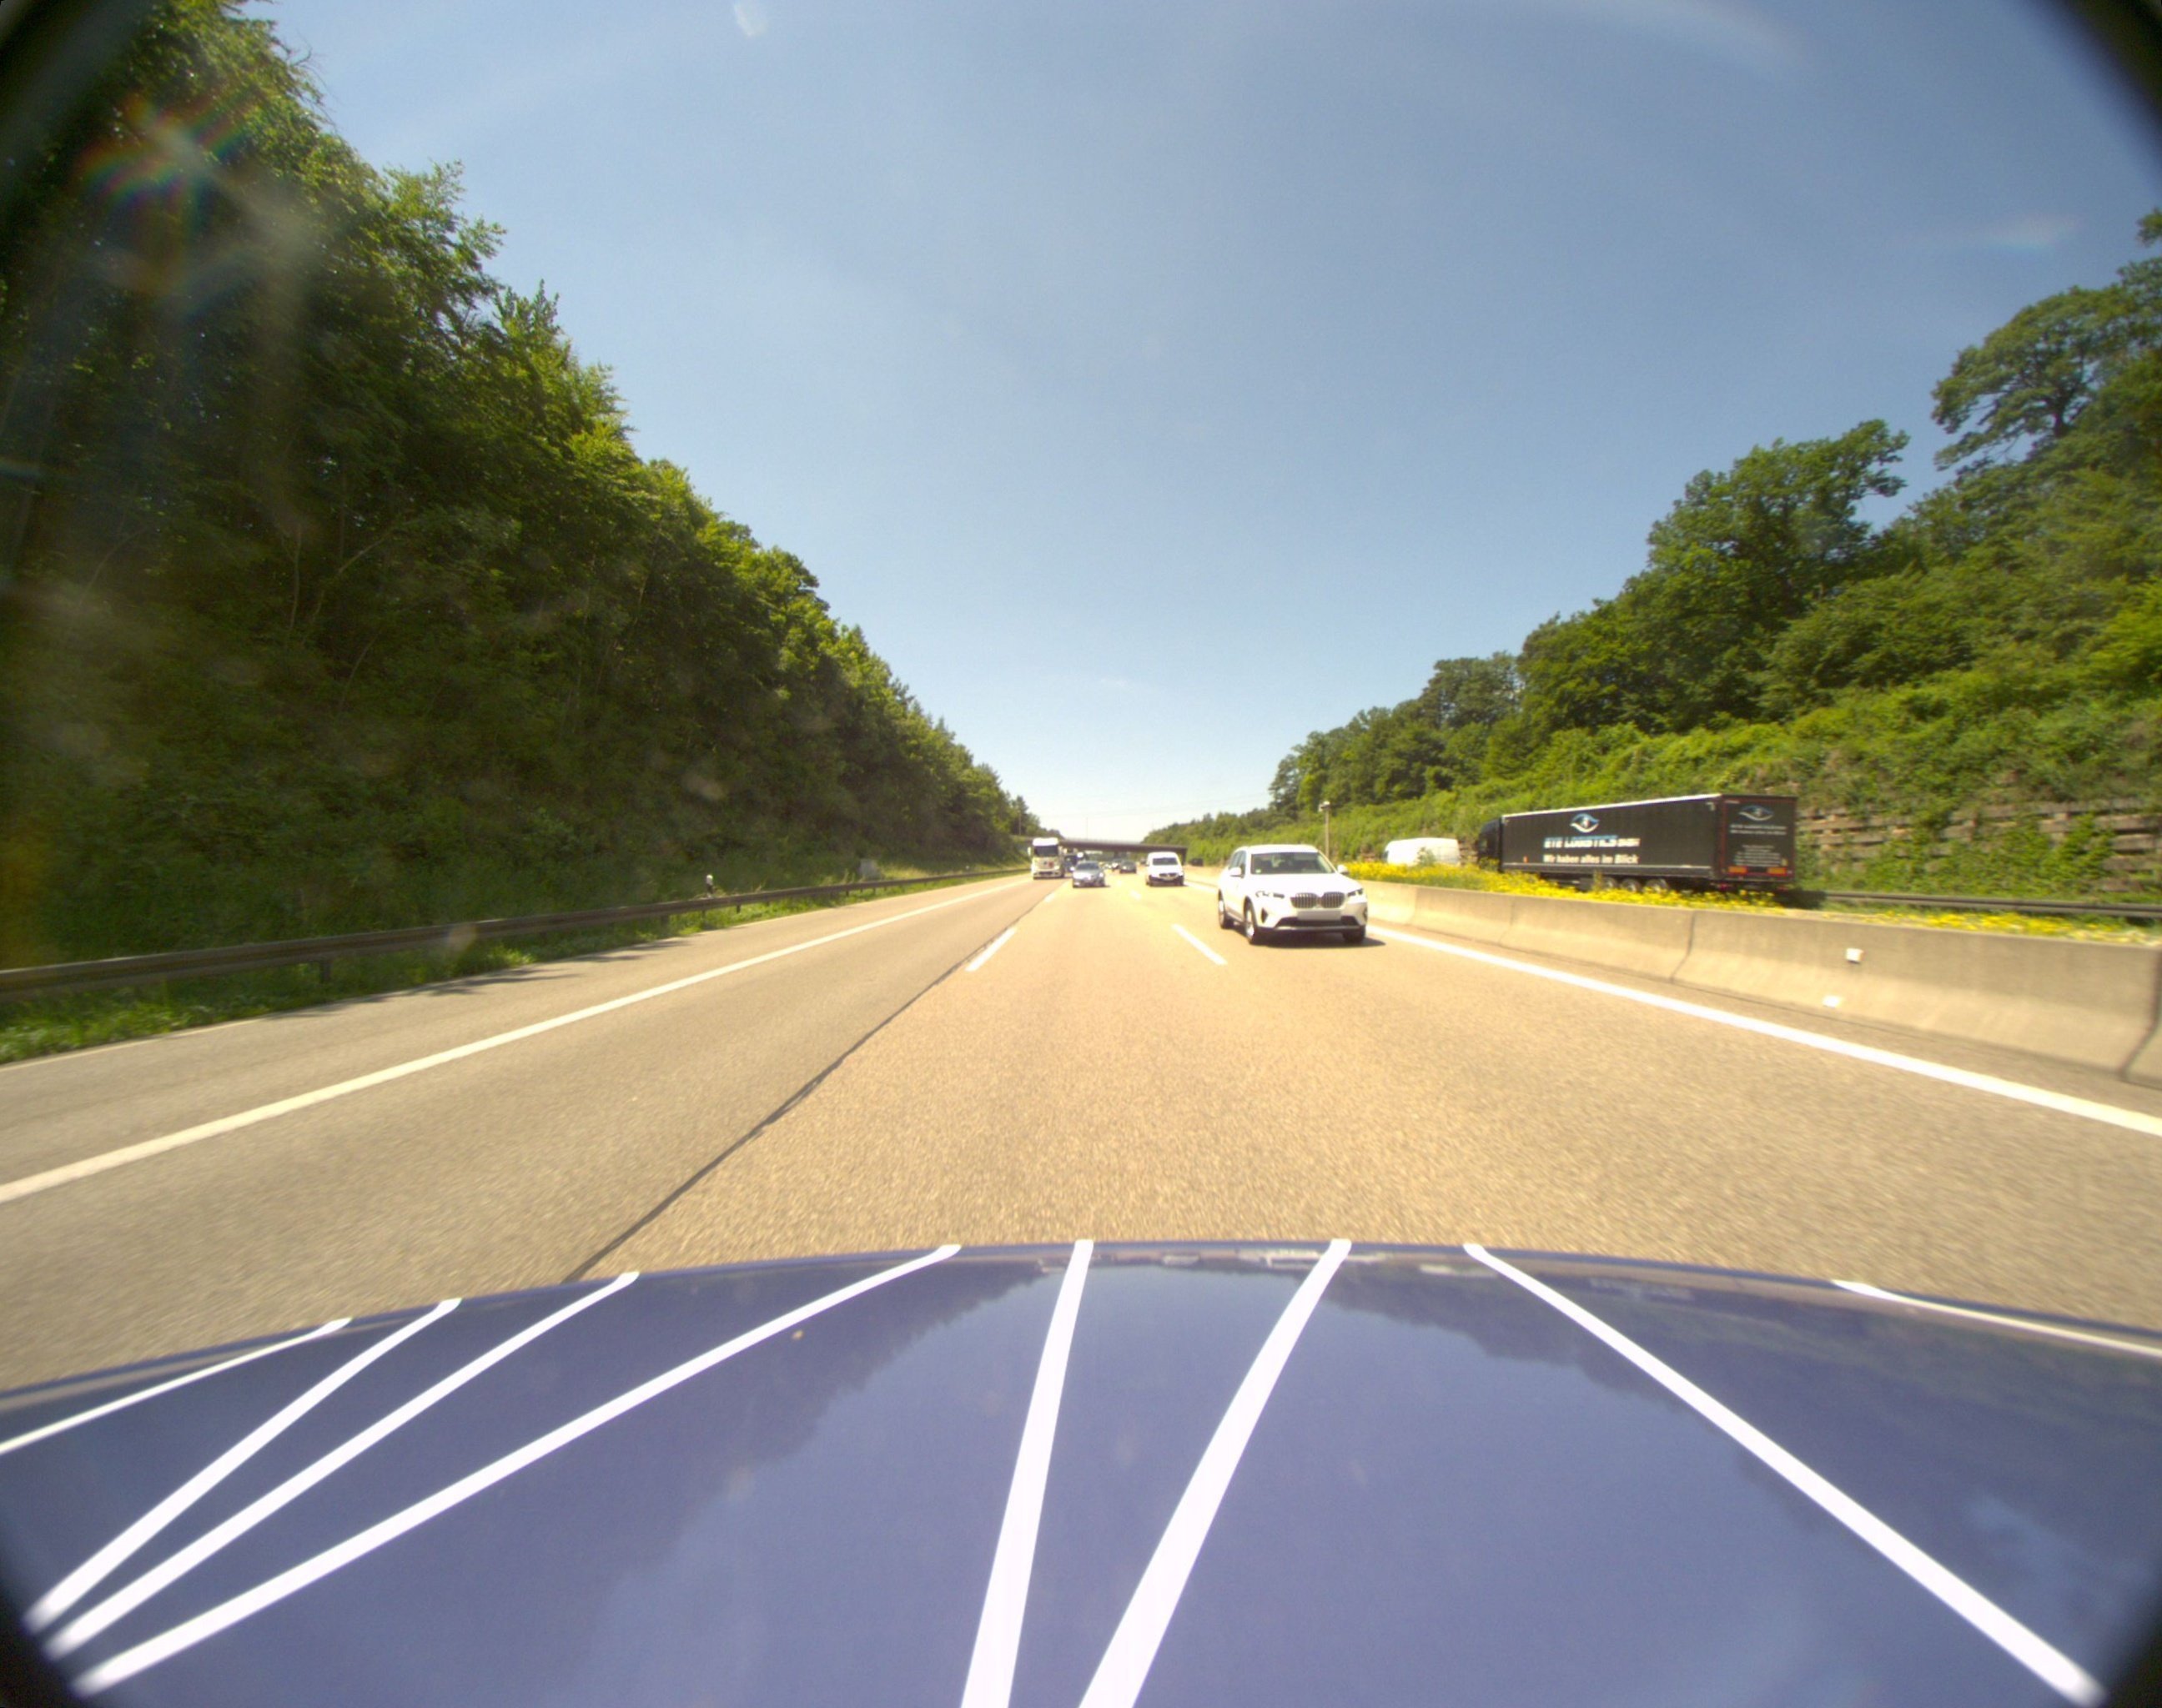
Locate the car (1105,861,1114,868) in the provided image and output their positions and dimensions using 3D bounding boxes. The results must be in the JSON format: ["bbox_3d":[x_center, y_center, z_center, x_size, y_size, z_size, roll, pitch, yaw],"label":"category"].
[{"bbox_3d":[6.251,2.330,166.593,1.770,1.504,4.000,-3,0,1],"label":"car"}]

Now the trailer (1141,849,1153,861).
[{"bbox_3d":[23.044,0.405,266.657,2.942,4.161,14.184,-2,0,1],"label":"trailer"}]

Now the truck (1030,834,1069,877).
[{"bbox_3d":[-2.835,0.138,71.835,2.844,3.518,13.087,-3,0,1],"label":"truck"}]

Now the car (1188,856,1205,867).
[{"bbox_3d":[16.870,1.069,111.124,1.944,1.595,4.657,0,0,1],"label":"car"}]

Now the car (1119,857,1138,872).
[{"bbox_3d":[5.193,1.119,83.533,1.770,1.504,4.725,-3,0,1],"label":"car"}]

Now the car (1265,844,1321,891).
[{"bbox_3d":[12.638,0.771,45.614,2.003,2.658,4.846,0,0,1],"label":"car"}]

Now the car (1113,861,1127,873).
[{"bbox_3d":[5.498,1.807,106.526,1.770,1.504,4.000,-3,0,1],"label":"car"}]

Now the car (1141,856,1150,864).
[{"bbox_3d":[14.131,1.339,166.634,1.757,1.628,4.303,0,0,1],"label":"car"}]

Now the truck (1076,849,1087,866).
[{"bbox_3d":[0.232,0.932,199.551,2.627,4.365,13.087,-3,0,1],"label":"truck"}]

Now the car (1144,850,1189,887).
[{"bbox_3d":[4.536,0.739,40.887,1.998,1.764,4.502,-3,0,2],"label":"car"}]

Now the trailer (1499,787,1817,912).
[{"bbox_3d":[23.024,-0.152,32.277,2.985,4.077,13.994,1,0,1],"label":"trailer"}]

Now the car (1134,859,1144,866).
[{"bbox_3d":[14.182,2.055,185.805,1.944,1.595,5.226,0,0,1],"label":"car"}]

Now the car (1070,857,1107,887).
[{"bbox_3d":[0.476,0.964,42.470,1.843,1.518,4.502,-3,0,2],"label":"car"}]

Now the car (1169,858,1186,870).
[{"bbox_3d":[13.217,1.311,104.317,1.766,1.595,4.082,0,0,1],"label":"car"}]

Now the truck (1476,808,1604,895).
[{"bbox_3d":[23.107,-0.120,38.672,2.941,4.035,5.868,1,0,1],"label":"truck"}]

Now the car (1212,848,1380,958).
[{"bbox_3d":[3.691,0.770,13.898,1.850,1.634,4.368,-2,0,1],"label":"car"}]

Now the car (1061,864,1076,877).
[{"bbox_3d":[-1.614,2.066,97.860,1.770,1.504,4.000,-3,0,1],"label":"car"}]

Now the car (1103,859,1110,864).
[{"bbox_3d":[7.707,2.310,230.821,1.944,1.616,4.281,0,0,1],"label":"car"}]

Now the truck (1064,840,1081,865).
[{"bbox_3d":[-1.576,-0.232,141.645,2.627,4.365,13.087,-3,0,1],"label":"truck"}]

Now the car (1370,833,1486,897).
[{"bbox_3d":[15.662,0.465,34.772,2.761,2.658,5.684,0,0,1],"label":"car"}]
